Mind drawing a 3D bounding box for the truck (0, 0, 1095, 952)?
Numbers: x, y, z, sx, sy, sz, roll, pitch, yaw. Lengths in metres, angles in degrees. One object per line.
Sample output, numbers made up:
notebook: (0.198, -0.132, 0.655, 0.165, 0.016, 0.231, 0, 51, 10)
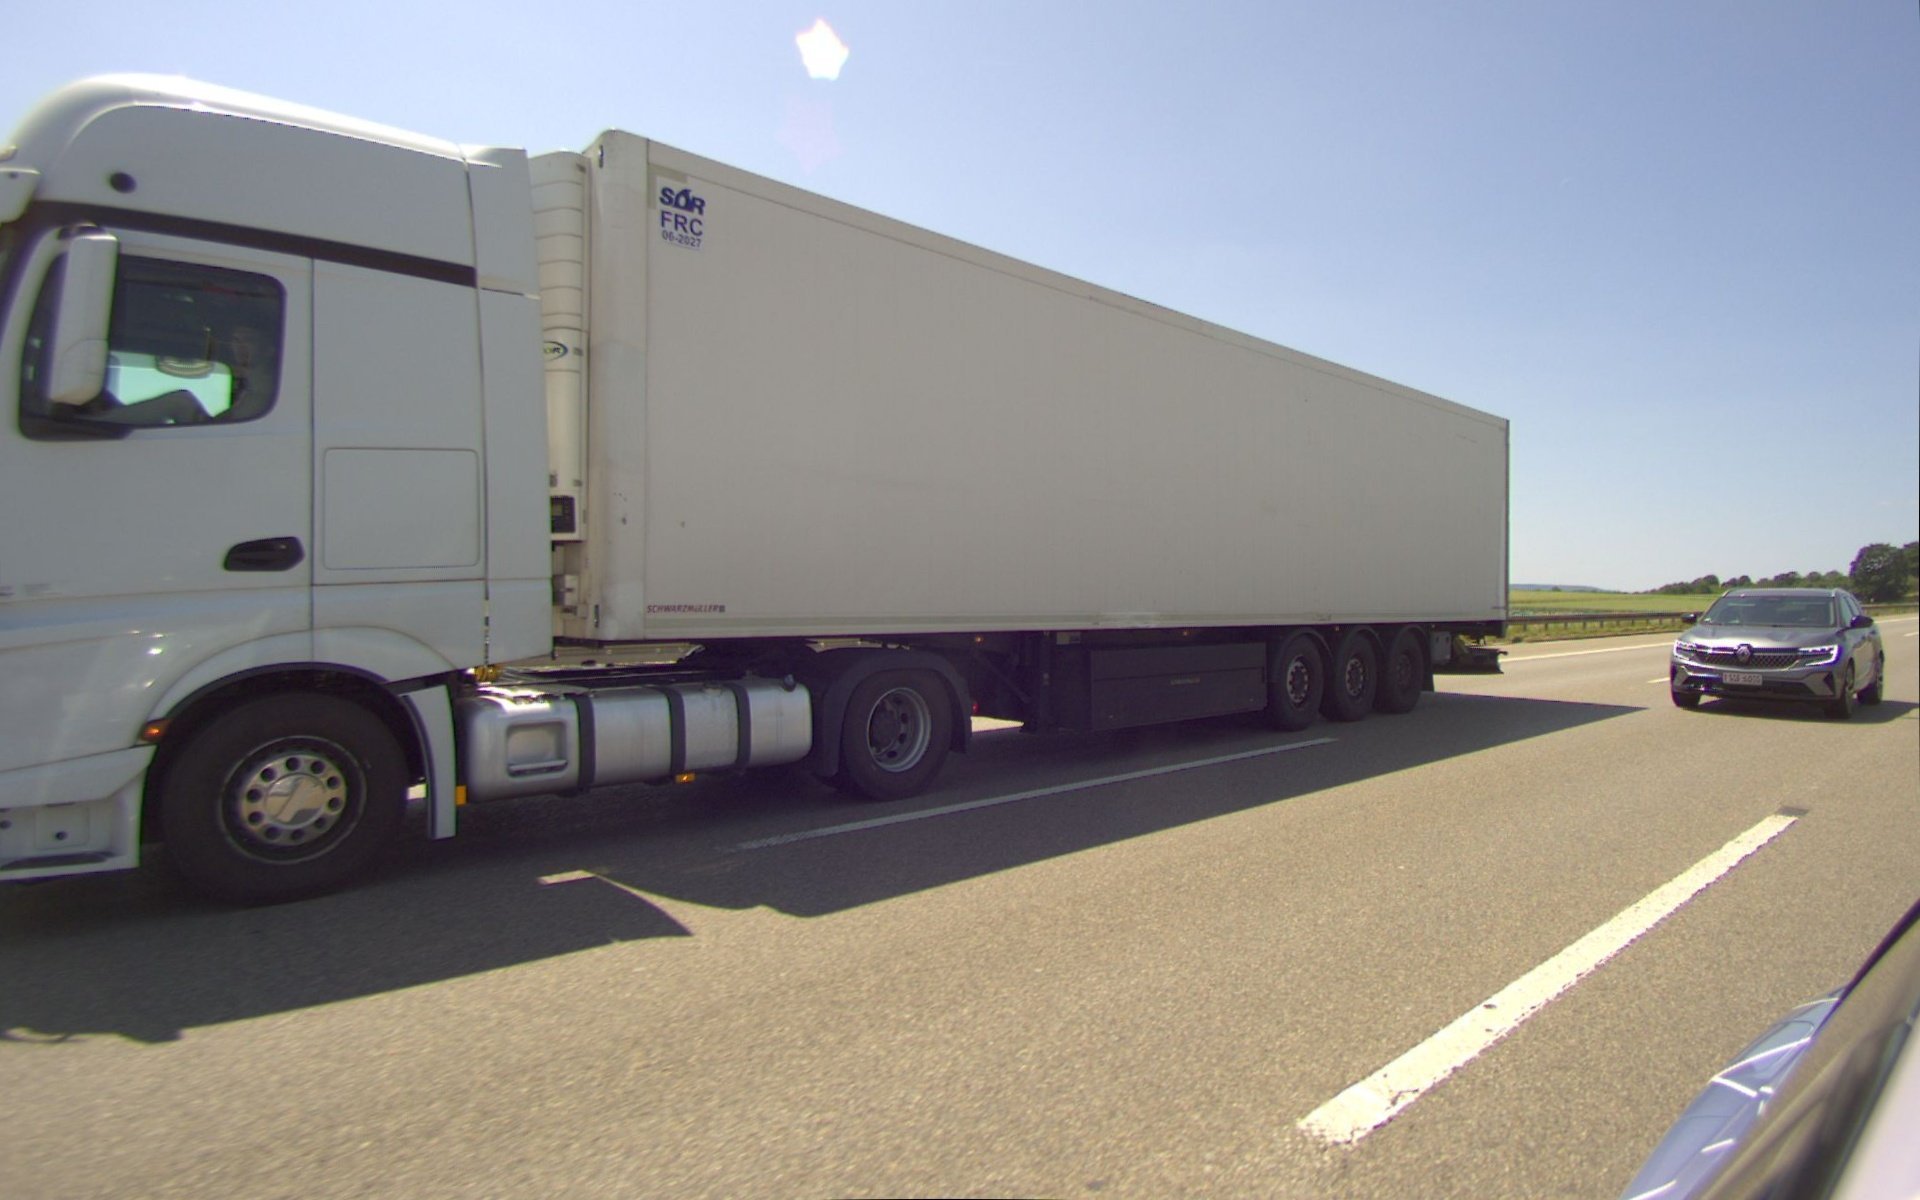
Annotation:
truck: (-2.349, -0.733, 7.106, 6.761, 4.143, 2.866, 0, 0, -42)

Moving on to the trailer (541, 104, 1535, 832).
trailer: (2.466, -0.827, 11.360, 13.064, 4.273, 2.872, 0, 0, -42)

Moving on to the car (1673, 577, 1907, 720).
car: (11.595, 0.545, 14.022, 4.565, 1.669, 1.854, 0, 1, -42)
